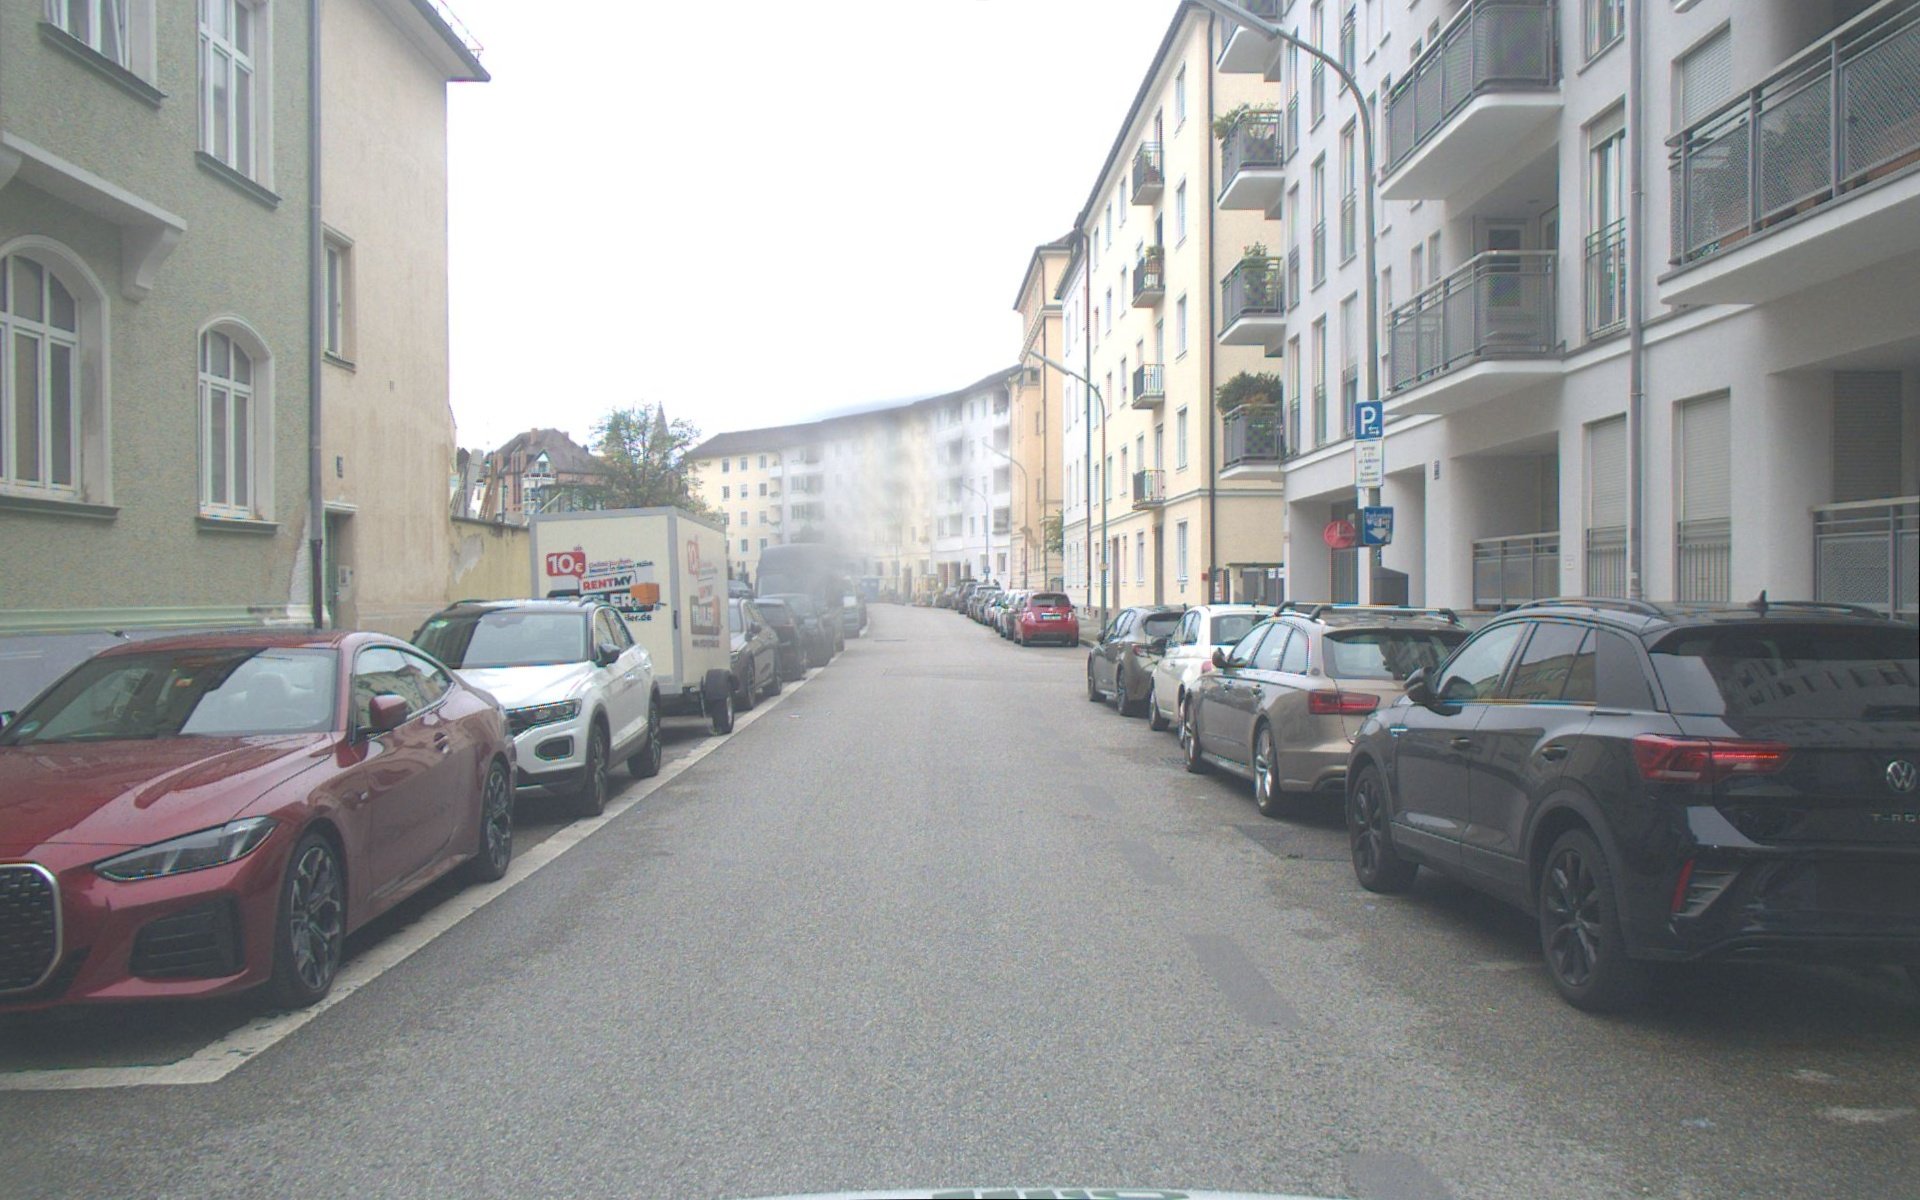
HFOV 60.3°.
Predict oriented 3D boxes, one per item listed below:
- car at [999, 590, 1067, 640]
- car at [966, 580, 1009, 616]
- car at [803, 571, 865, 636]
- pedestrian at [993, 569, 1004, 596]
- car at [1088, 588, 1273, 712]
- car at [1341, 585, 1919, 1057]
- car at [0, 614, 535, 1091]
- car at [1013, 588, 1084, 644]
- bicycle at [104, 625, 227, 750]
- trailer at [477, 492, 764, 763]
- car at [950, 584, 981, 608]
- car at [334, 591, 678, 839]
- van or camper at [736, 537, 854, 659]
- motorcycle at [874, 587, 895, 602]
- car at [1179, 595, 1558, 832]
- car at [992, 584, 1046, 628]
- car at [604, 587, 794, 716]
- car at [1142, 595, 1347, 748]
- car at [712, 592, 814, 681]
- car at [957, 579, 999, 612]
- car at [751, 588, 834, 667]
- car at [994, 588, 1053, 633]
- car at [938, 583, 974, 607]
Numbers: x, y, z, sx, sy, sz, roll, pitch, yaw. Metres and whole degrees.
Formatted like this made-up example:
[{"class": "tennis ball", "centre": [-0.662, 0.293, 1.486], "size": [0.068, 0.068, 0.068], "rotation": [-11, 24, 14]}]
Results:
[{"class": "car", "centre": [2.251, 0.430, 52.070], "size": [1.737, 1.454, 4.613], "rotation": [1, 1, -3]}, {"class": "car", "centre": [1.357, -0.120, 82.676], "size": [1.810, 1.692, 4.495], "rotation": [1, 1, -3]}, {"class": "car", "centre": [-4.094, 0.066, 53.446], "size": [1.877, 1.994, 4.957], "rotation": [0, 1, -5]}, {"class": "pedestrian", "centre": [2.516, -1.169, 107.886], "size": [0.605, 1.719, 0.919], "rotation": [-3, 0, -2]}, {"class": "car", "centre": [2.925, 0.608, 22.777], "size": [1.736, 1.501, 4.215], "rotation": [0, 1, -4]}, {"class": "car", "centre": [3.166, 0.730, 7.537], "size": [1.800, 1.559, 4.020], "rotation": [1, 0, -2]}, {"class": "car", "centre": [-3.290, 0.831, 7.430], "size": [1.710, 1.392, 4.401], "rotation": [-1, 1, -2]}, {"class": "car", "centre": [2.477, 0.427, 47.099], "size": [1.622, 1.454, 3.754], "rotation": [1, 1, -3]}, {"class": "bicycle", "centre": [-7.509, 0.802, 15.691], "size": [0.451, 1.103, 1.522], "rotation": [1, 0, -2]}, {"class": "trailer", "centre": [-3.546, 0.248, 18.224], "size": [1.935, 2.514, 4.578], "rotation": [-3, 0, 2]}, {"class": "car", "centre": [0.308, -0.284, 103.117], "size": [1.599, 1.442, 3.676], "rotation": [1, 1, -5]}, {"class": "car", "centre": [-3.361, 0.751, 13.032], "size": [1.645, 1.557, 4.106], "rotation": [-1, 1, -2]}, {"class": "van or camper", "centre": [-3.944, -0.079, 40.452], "size": [2.246, 2.697, 5.561], "rotation": [-2, 1, 0]}, {"class": "motorcycle", "centre": [-6.433, -0.489, 141.412], "size": [0.920, 1.242, 2.486], "rotation": [0, 0, -26]}, {"class": "car", "centre": [2.989, 0.740, 13.157], "size": [1.755, 1.508, 4.602], "rotation": [0, 1, -2]}, {"class": "car", "centre": [2.194, 0.204, 62.572], "size": [1.618, 1.570, 3.990], "rotation": [1, 1, -4]}, {"class": "car", "centre": [-3.633, 0.643, 23.924], "size": [1.825, 1.568, 5.092], "rotation": [-2, 1, 1]}, {"class": "car", "centre": [3.096, 0.719, 18.660], "size": [1.584, 1.492, 3.746], "rotation": [1, 1, -1]}, {"class": "car", "centre": [-3.599, 0.619, 30.830], "size": [1.642, 1.461, 4.283], "rotation": [-2, 1, -4]}, {"class": "car", "centre": [1.004, -0.289, 92.929], "size": [2.126, 1.769, 5.022], "rotation": [1, 1, -2]}, {"class": "car", "centre": [-3.551, 0.535, 35.433], "size": [1.620, 1.523, 3.905], "rotation": [-2, 1, -5]}, {"class": "car", "centre": [2.185, 0.341, 57.642], "size": [1.690, 1.454, 4.291], "rotation": [1, 1, -3]}, {"class": "car", "centre": [-0.312, -0.373, 109.361], "size": [1.871, 1.503, 4.940], "rotation": [1, 1, -6]}]
